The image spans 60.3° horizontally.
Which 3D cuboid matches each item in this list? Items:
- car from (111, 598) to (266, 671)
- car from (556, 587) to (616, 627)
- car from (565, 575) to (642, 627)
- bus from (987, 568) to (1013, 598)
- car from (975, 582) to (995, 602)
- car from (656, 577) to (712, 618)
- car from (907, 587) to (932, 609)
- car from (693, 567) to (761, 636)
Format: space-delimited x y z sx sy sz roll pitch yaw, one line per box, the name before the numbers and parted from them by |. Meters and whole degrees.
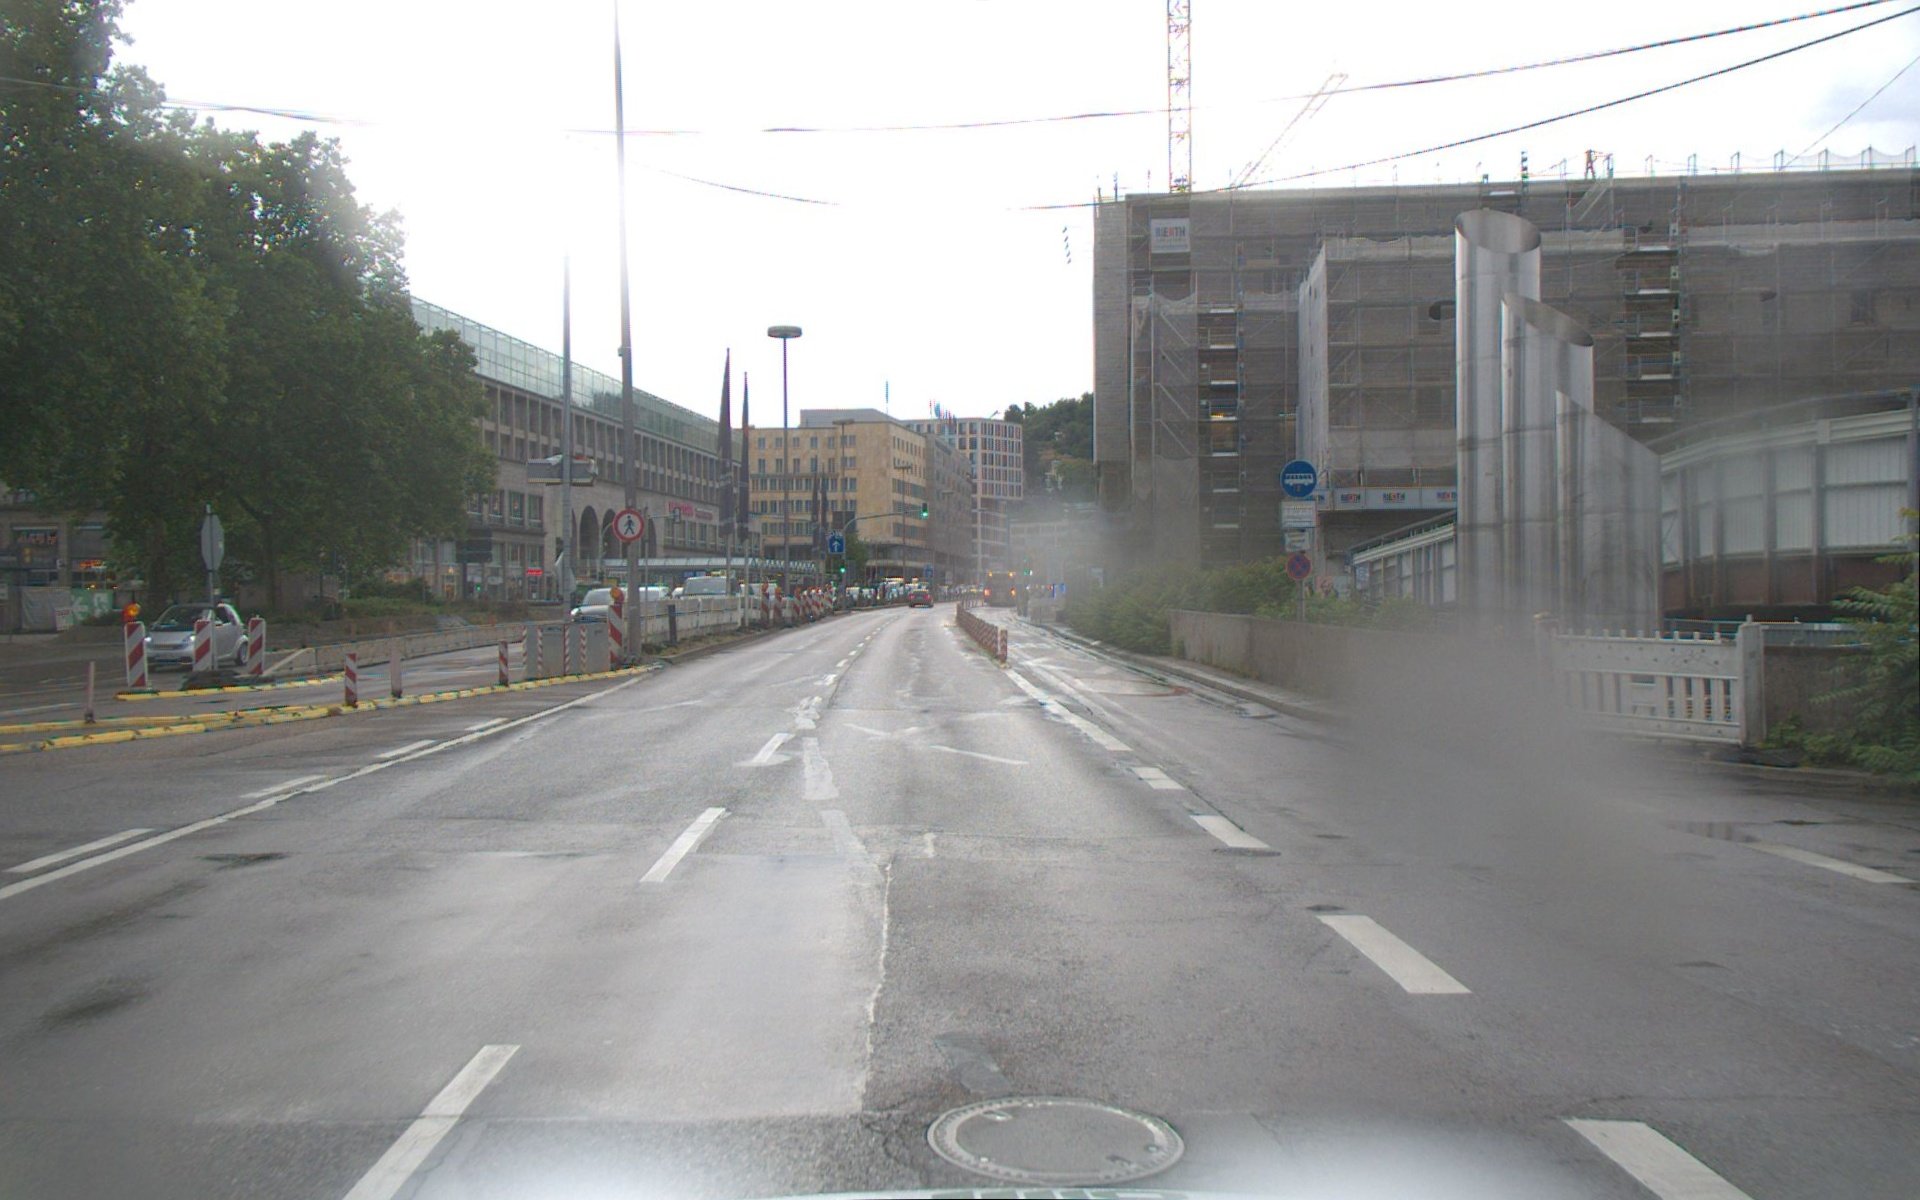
car | -18.280 0.856 39.419 1.864 1.554 4.174 -3 -2 -3
car | -16.609 0.351 73.602 1.864 1.554 4.174 -3 -2 -3
car | -12.117 0.058 56.480 1.864 1.554 4.174 -3 -2 -3
bus | 3.635 -1.537 150.255 1.952 2.474 4.002 -3 -2 5
car | 2.787 -0.855 185.463 1.952 2.049 4.001 -3 -2 4
car | -11.905 -0.085 71.644 1.864 1.554 4.174 -3 -2 -3
car | -3.278 -0.167 133.623 1.864 1.554 4.174 -3 -2 -3
car | -7.951 0.098 56.662 1.864 2.119 4.174 -3 -2 -3
